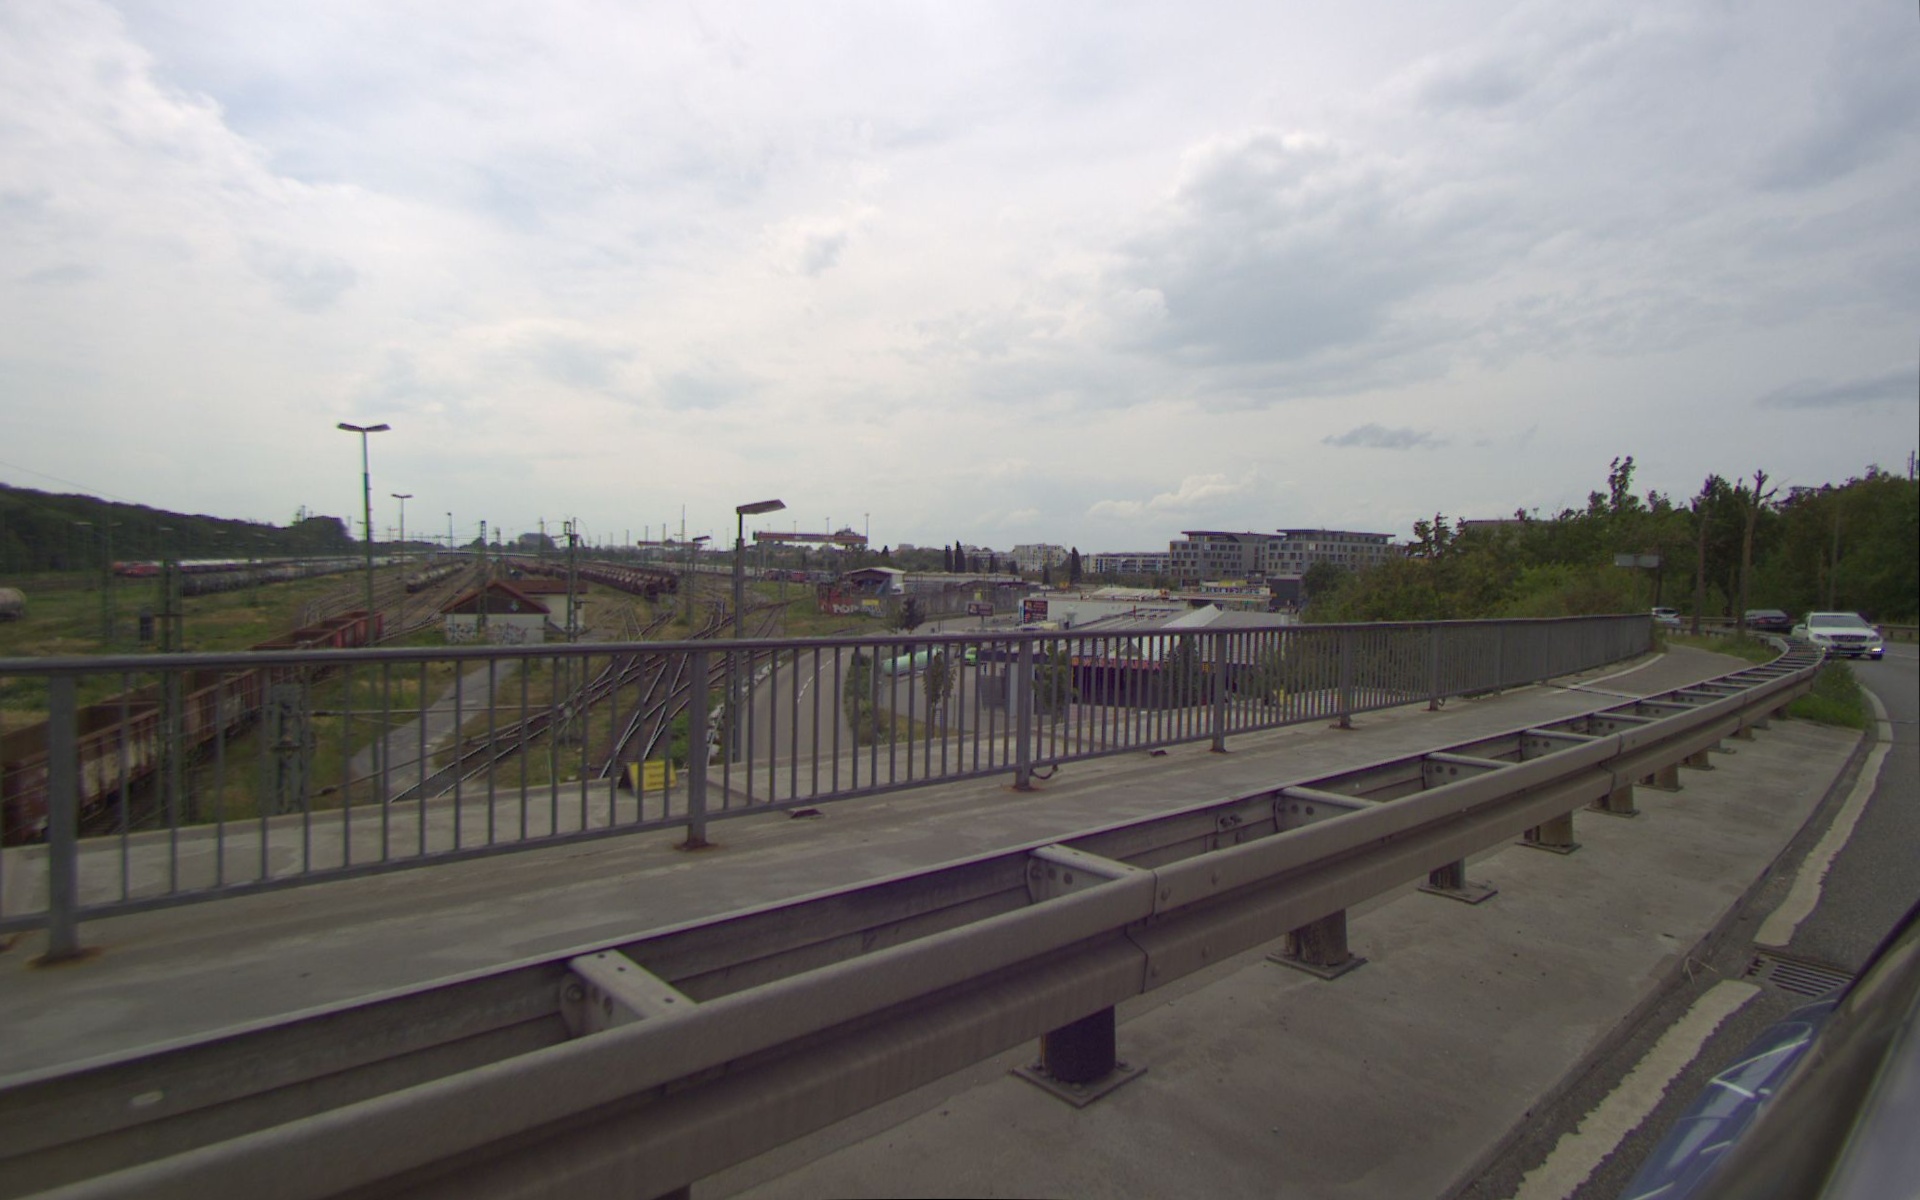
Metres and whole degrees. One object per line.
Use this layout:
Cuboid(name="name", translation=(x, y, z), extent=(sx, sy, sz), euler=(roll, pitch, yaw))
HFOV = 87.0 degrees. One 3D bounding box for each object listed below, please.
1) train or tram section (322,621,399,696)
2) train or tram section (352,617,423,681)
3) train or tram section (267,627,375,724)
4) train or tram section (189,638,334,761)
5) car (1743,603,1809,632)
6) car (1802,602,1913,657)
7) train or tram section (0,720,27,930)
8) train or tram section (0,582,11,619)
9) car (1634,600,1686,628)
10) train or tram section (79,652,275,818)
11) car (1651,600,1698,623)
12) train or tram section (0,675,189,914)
Cuboid(name="train or tram section", translation=(-54.728, 5.075, 92.864), extent=(3.724, 5.694, 15.596), euler=(-1, 1, -22))
Cuboid(name="train or tram section", translation=(-62.836, 5.008, 111.785), extent=(3.910, 5.548, 25.743), euler=(-1, 1, -23))
Cuboid(name="train or tram section", translation=(-48.249, 5.343, 77.235), extent=(3.877, 5.713, 18.312), euler=(-1, 1, -22))
Cuboid(name="train or tram section", translation=(-42.011, 5.586, 61.683), extent=(3.894, 5.747, 15.046), euler=(-1, 1, -21))
Cuboid(name="car", translation=(44.656, 0.941, 55.473), extent=(1.691, 1.515, 4.293), euler=(-1, -1, 23))
Cuboid(name="car", translation=(28.120, 0.901, 31.853), extent=(1.924, 1.475, 3.842), euler=(-3, 0, 32))
Cuboid(name="train or tram section", translation=(-26.412, 6.421, 22.363), extent=(3.576, 5.644, 13.681), euler=(-1, 1, -20))
Cuboid(name="train or tram section", translation=(-110.029, 0.157, 112.496), extent=(3.186, 4.220, 11.405), euler=(-1, 1, -25))
Cuboid(name="car", translation=(45.201, 0.915, 65.457), extent=(1.942, 1.726, 4.396), euler=(0, 0, 24))
Cuboid(name="train or tram section", translation=(-36.577, 5.854, 48.191), extent=(3.763, 5.749, 13.937), euler=(-1, 1, -22))
Cuboid(name="car", translation=(50.233, 0.825, 71.250), extent=(1.791, 1.541, 4.397), euler=(0, 0, 23))
Cuboid(name="train or tram section", translation=(-31.396, 6.095, 35.169), extent=(3.582, 5.669, 14.288), euler=(-1, 1, -22))
